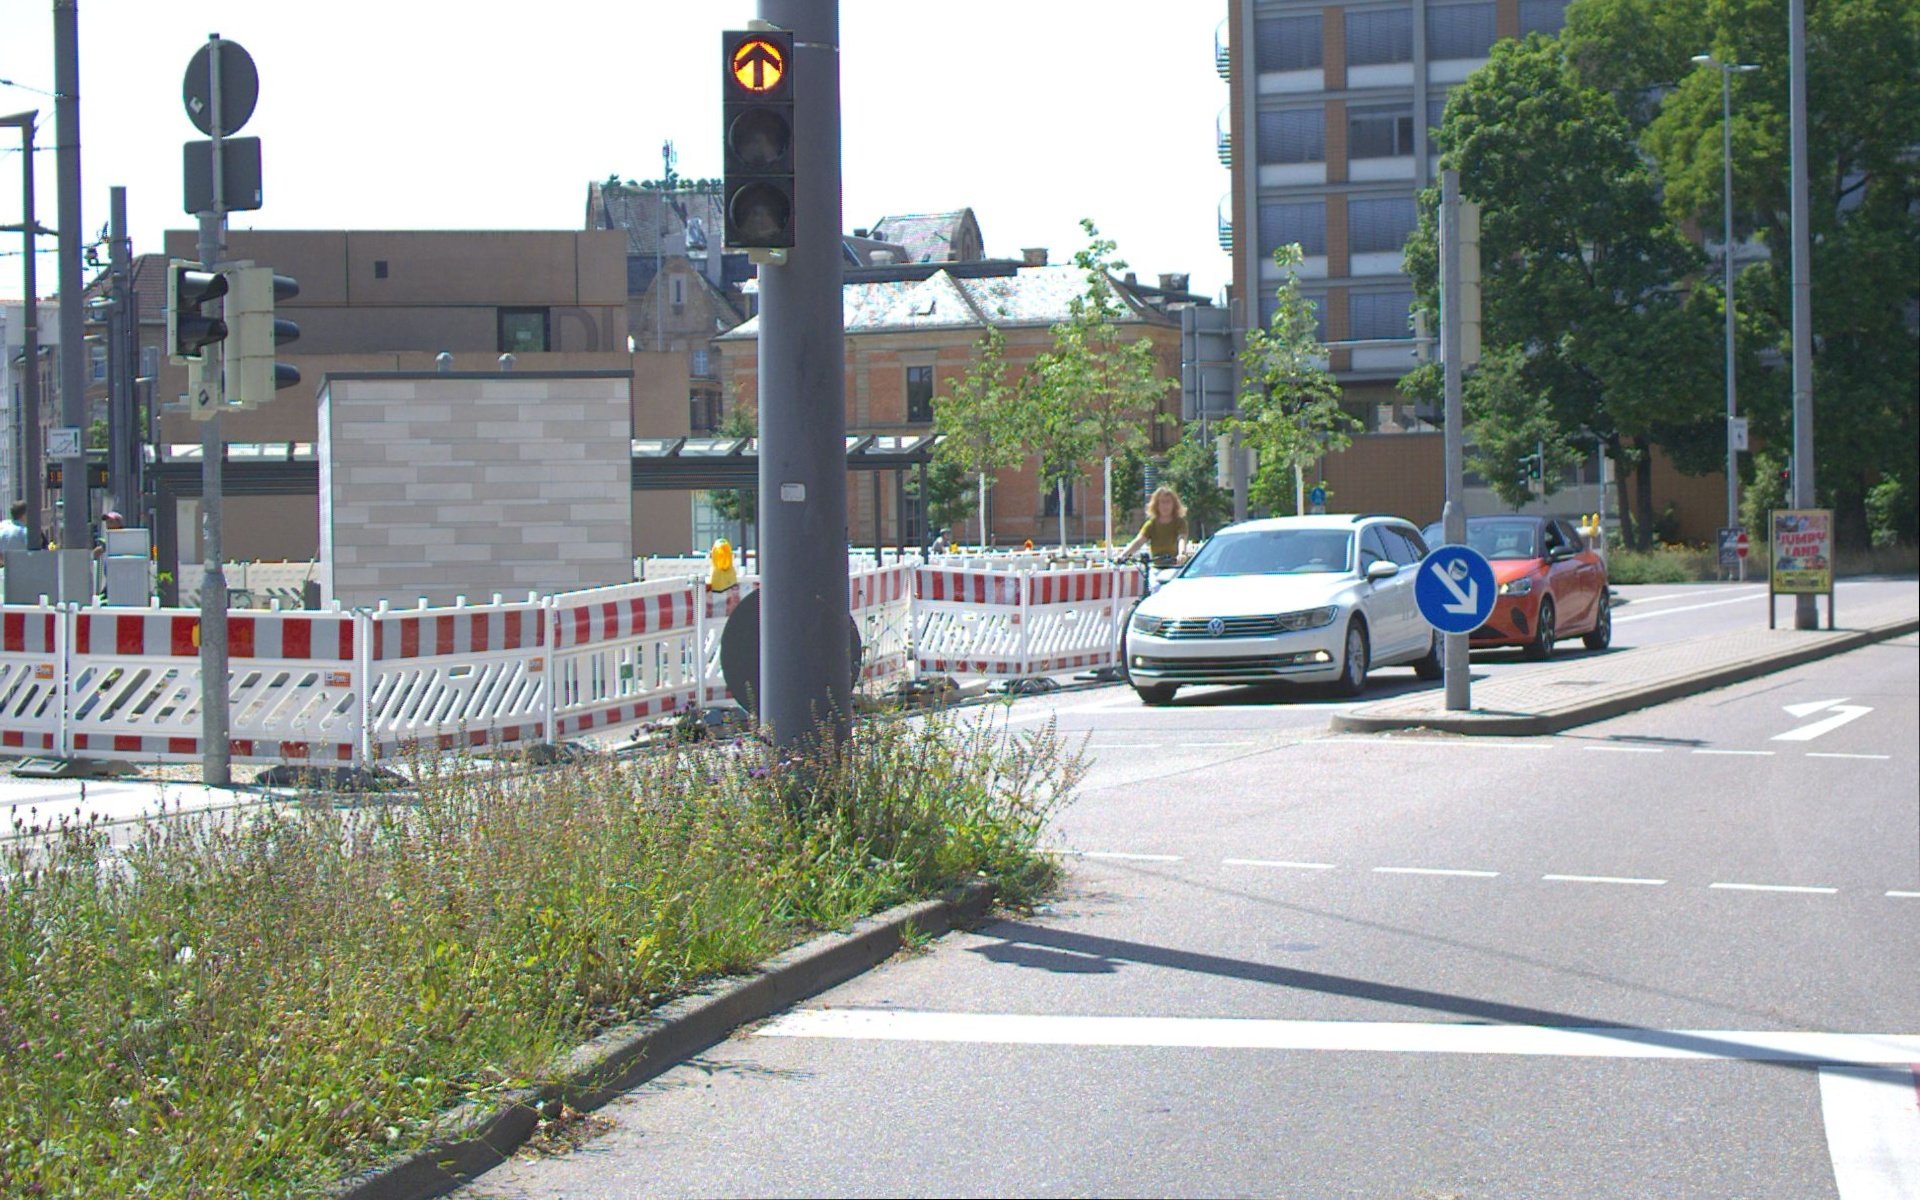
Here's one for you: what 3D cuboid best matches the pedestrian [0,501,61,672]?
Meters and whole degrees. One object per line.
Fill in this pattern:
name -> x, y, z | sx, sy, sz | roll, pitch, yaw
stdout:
pedestrian -> -10.436, -0.150, 37.793 | 0.729, 1.858, 0.765 | -1, 0, 38

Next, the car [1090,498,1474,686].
car -> 2.811, -0.088, 28.917 | 1.996, 1.433, 4.700 | -1, 1, 21

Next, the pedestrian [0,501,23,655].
pedestrian -> -12.231, -0.270, 43.427 | 0.719, 1.917, 1.074 | -1, 0, -17

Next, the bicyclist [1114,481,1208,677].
bicyclist -> 1.830, -0.201, 31.242 | 0.568, 1.713, 0.506 | 7, 5, 26

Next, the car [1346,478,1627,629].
car -> 5.416, -0.475, 34.972 | 1.733, 1.420, 4.118 | -1, 1, 25

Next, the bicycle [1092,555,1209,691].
bicycle -> 1.738, 0.194, 31.129 | 0.398, 1.170, 1.768 | 0, 1, 26

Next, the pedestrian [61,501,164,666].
pedestrian -> -9.589, -0.189, 38.896 | 0.977, 1.826, 0.633 | -2, 1, -26
